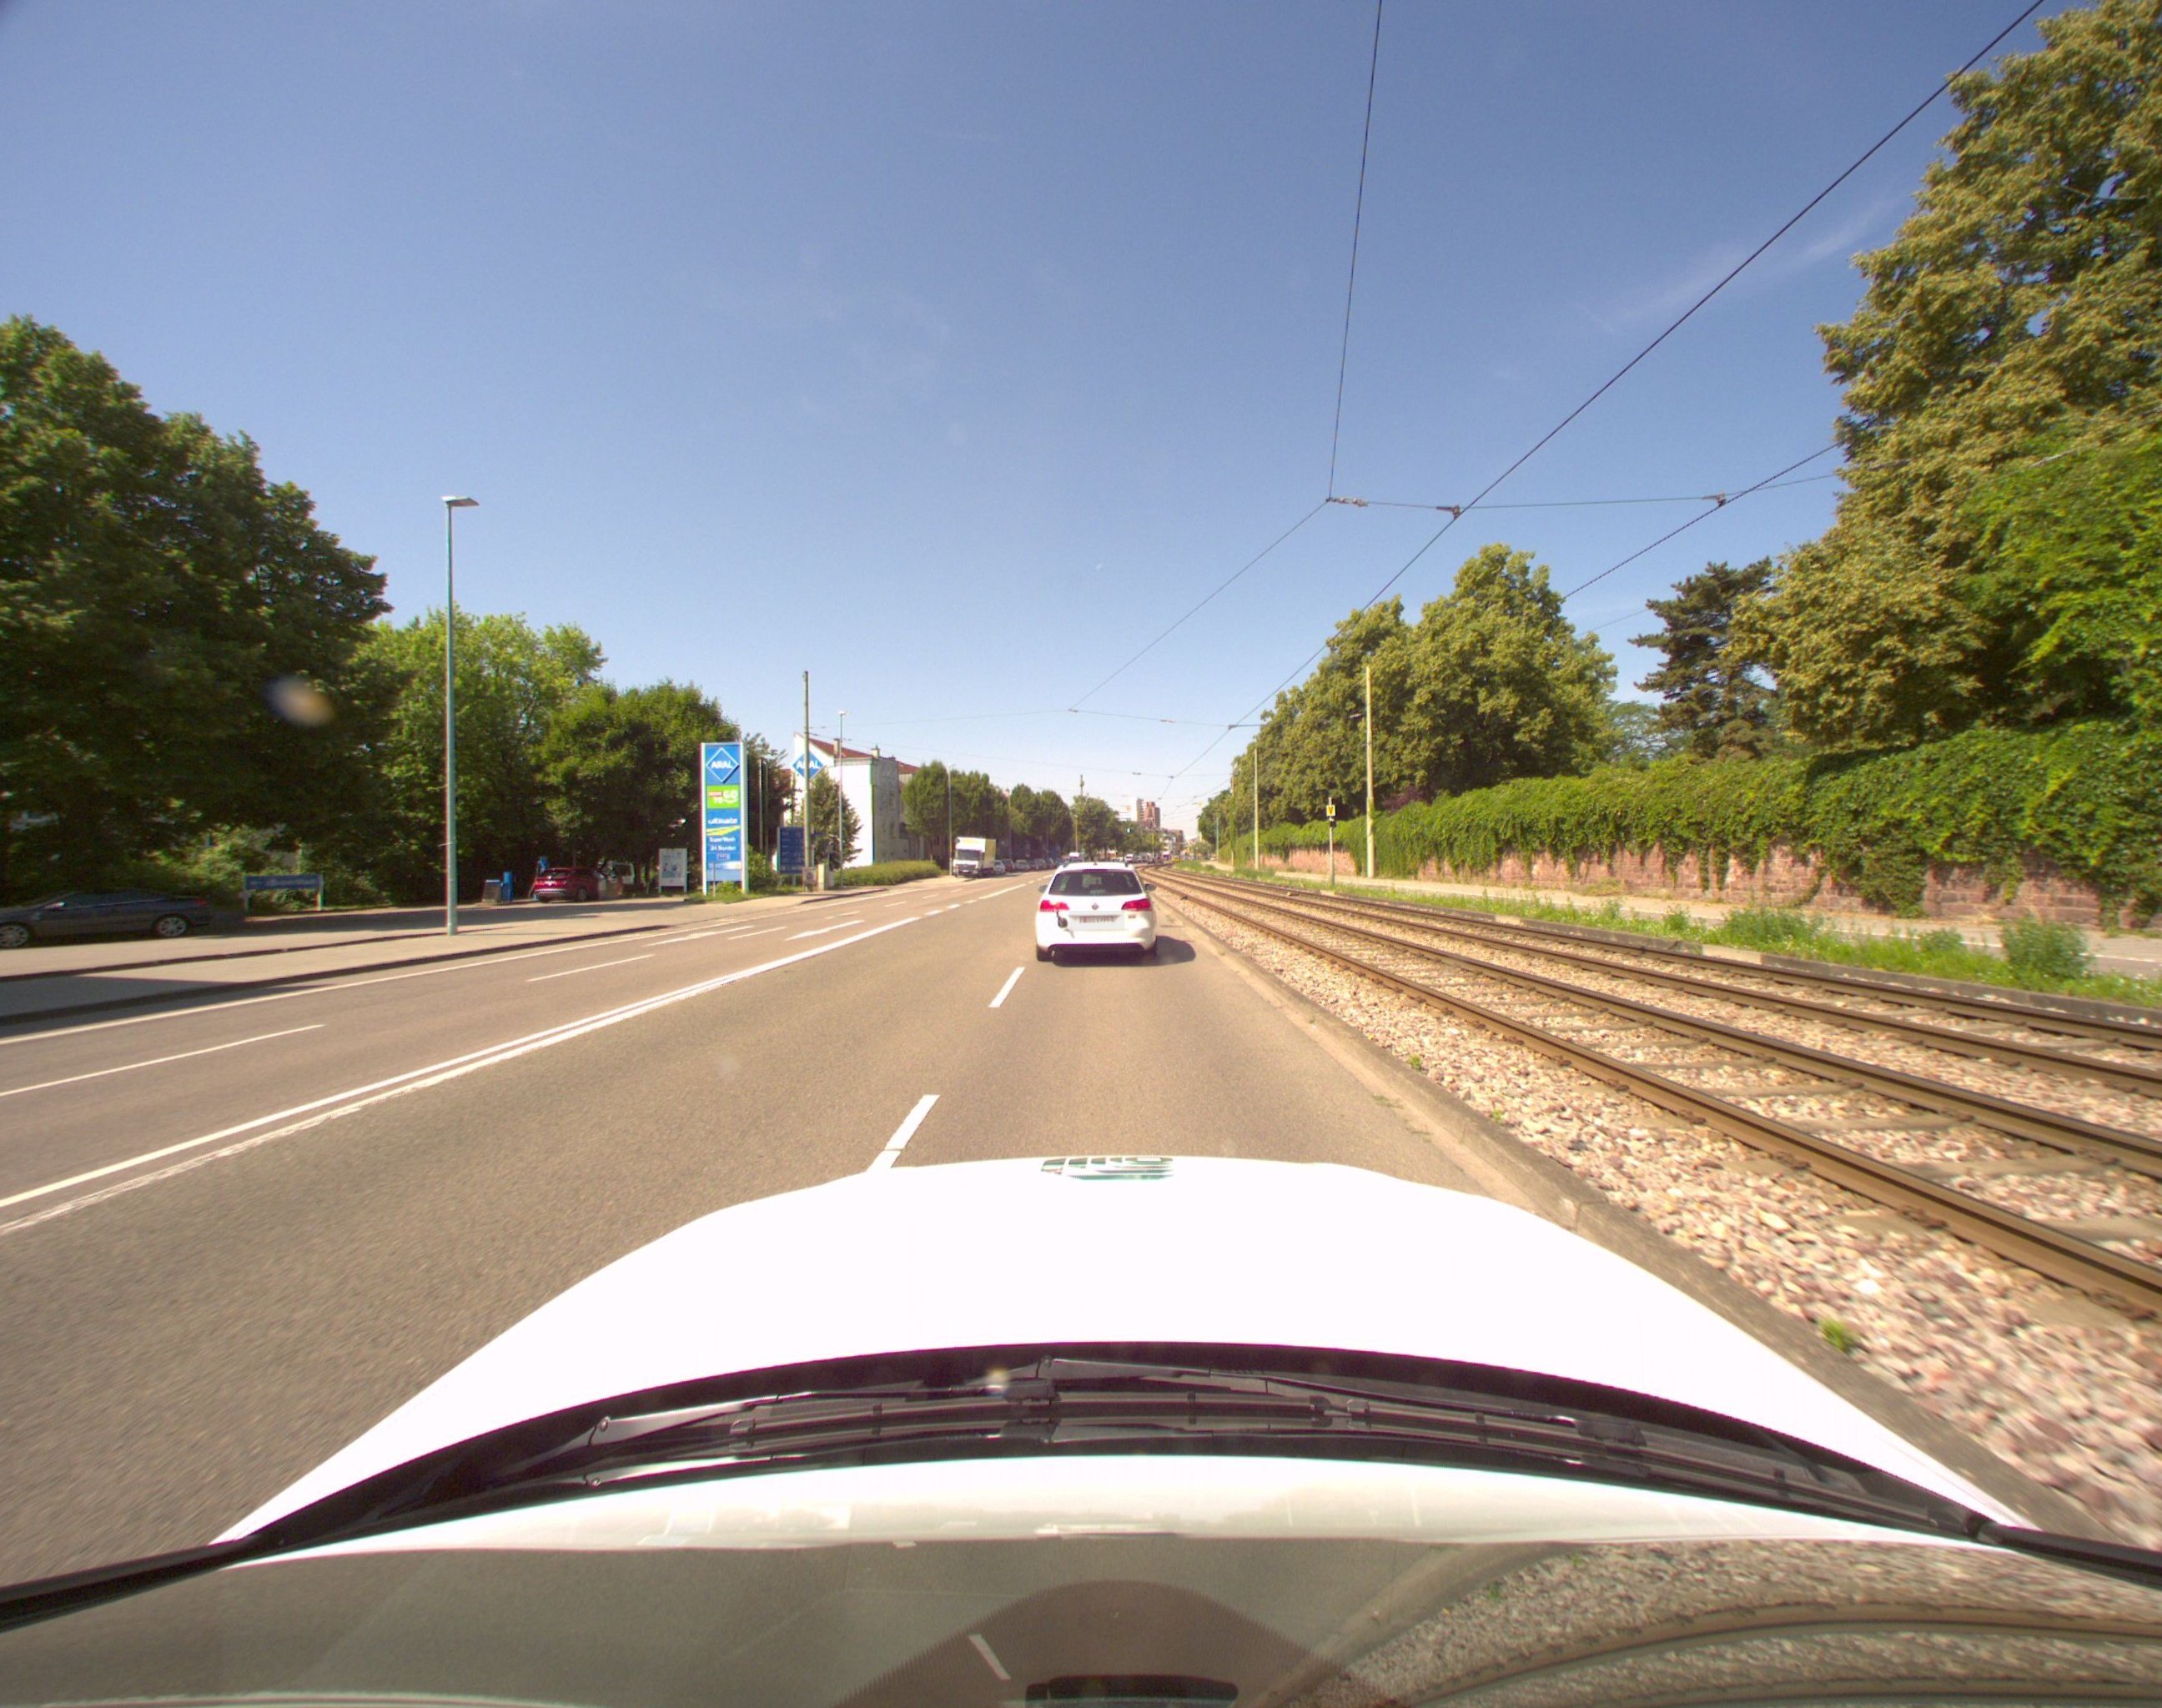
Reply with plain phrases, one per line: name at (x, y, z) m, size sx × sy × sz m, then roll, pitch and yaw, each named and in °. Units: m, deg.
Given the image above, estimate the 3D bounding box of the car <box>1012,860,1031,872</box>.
car at (-7.564, 1.601, 104.001) m, size 1.773 × 1.483 × 4.861 m, roll 0°, pitch -1°, yaw 3°

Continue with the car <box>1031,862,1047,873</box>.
car at (-5.983, 1.927, 116.446) m, size 1.708 × 1.625 × 4.320 m, roll 0°, pitch -1°, yaw 6°

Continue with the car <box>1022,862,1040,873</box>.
car at (-6.715, 1.851, 110.496) m, size 1.715 × 1.474 × 4.721 m, roll 1°, pitch -1°, yaw 5°

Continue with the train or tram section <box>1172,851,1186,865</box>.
train or tram section at (28.592, 1.134, 237.627) m, size 2.494 × 3.747 × 13.355 m, roll -1°, pitch -1°, yaw 12°

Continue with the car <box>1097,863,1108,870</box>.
car at (4.648, 2.698, 176.093) m, size 1.687 × 1.417 × 4.015 m, roll -1°, pitch -1°, yaw 14°

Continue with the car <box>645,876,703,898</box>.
car at (-29.763, 2.390, 59.568) m, size 3.573 × 1.484 × 1.667 m, roll -2°, pitch -1°, yaw 14°

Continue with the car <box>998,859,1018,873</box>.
car at (-8.338, 1.351, 93.230) m, size 1.723 × 1.552 × 4.321 m, roll 0°, pitch 0°, yaw 3°

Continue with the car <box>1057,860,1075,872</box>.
car at (-2.531, 2.039, 138.068) m, size 1.908 × 1.948 × 5.369 m, roll 2°, pitch 0°, yaw 10°

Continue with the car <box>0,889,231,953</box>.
car at (-25.452, 1.678, 21.170) m, size 1.783 × 1.346 × 4.268 m, roll -2°, pitch 0°, yaw 25°

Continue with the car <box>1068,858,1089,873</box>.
car at (-0.251, 1.189, 85.087) m, size 1.792 × 1.507 × 4.006 m, roll 0°, pitch 0°, yaw 5°

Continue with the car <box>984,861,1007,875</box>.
car at (-8.919, 1.442, 85.407) m, size 1.750 × 1.429 × 4.284 m, roll 0°, pitch -1°, yaw 2°

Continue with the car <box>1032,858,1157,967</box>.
car at (0.217, 0.800, 13.224) m, size 1.685 × 1.451 × 4.459 m, roll 0°, pitch 0°, yaw 1°

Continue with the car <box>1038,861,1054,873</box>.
car at (-5.180, 1.928, 121.944) m, size 1.761 × 1.723 × 4.877 m, roll 1°, pitch -1°, yaw 5°

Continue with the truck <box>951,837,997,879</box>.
truck at (-9.462, 0.342, 73.029) m, size 2.656 × 3.530 × 8.595 m, roll 1°, pitch 0°, yaw 2°

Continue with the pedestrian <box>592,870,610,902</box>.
pedestrian at (-22.834, 1.523, 38.735) m, size 0.496 × 1.481 × 0.500 m, roll -1°, pitch -1°, yaw 2°

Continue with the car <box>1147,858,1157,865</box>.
car at (15.005, 1.613, 172.525) m, size 1.789 × 1.507 × 4.011 m, roll 0°, pitch 0°, yaw 10°

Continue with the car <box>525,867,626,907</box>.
car at (-23.616, 1.499, 38.256) m, size 1.793 × 1.570 × 4.520 m, roll -1°, pitch 1°, yaw 2°

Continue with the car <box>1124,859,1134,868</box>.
car at (13.182, 2.588, 222.737) m, size 1.867 × 2.416 × 5.135 m, roll -1°, pitch -1°, yaw 14°

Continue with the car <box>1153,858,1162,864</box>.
car at (17.449, 1.560, 186.112) m, size 1.789 × 1.460 × 4.011 m, roll -1°, pitch -1°, yaw 10°

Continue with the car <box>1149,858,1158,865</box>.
car at (15.909, 1.662, 178.820) m, size 1.789 × 1.460 × 4.011 m, roll 0°, pitch 0°, yaw 10°

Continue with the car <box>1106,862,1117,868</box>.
car at (7.052, 2.571, 188.938) m, size 1.687 × 1.352 × 4.015 m, roll -1°, pitch -1°, yaw 14°

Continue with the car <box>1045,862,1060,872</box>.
car at (-4.418, 2.060, 127.385) m, size 1.681 × 1.474 × 4.057 m, roll 2°, pitch 0°, yaw 8°

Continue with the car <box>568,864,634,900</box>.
car at (-35.837, 2.100, 60.827) m, size 4.142 × 2.538 × 1.795 m, roll -2°, pitch -1°, yaw 15°
